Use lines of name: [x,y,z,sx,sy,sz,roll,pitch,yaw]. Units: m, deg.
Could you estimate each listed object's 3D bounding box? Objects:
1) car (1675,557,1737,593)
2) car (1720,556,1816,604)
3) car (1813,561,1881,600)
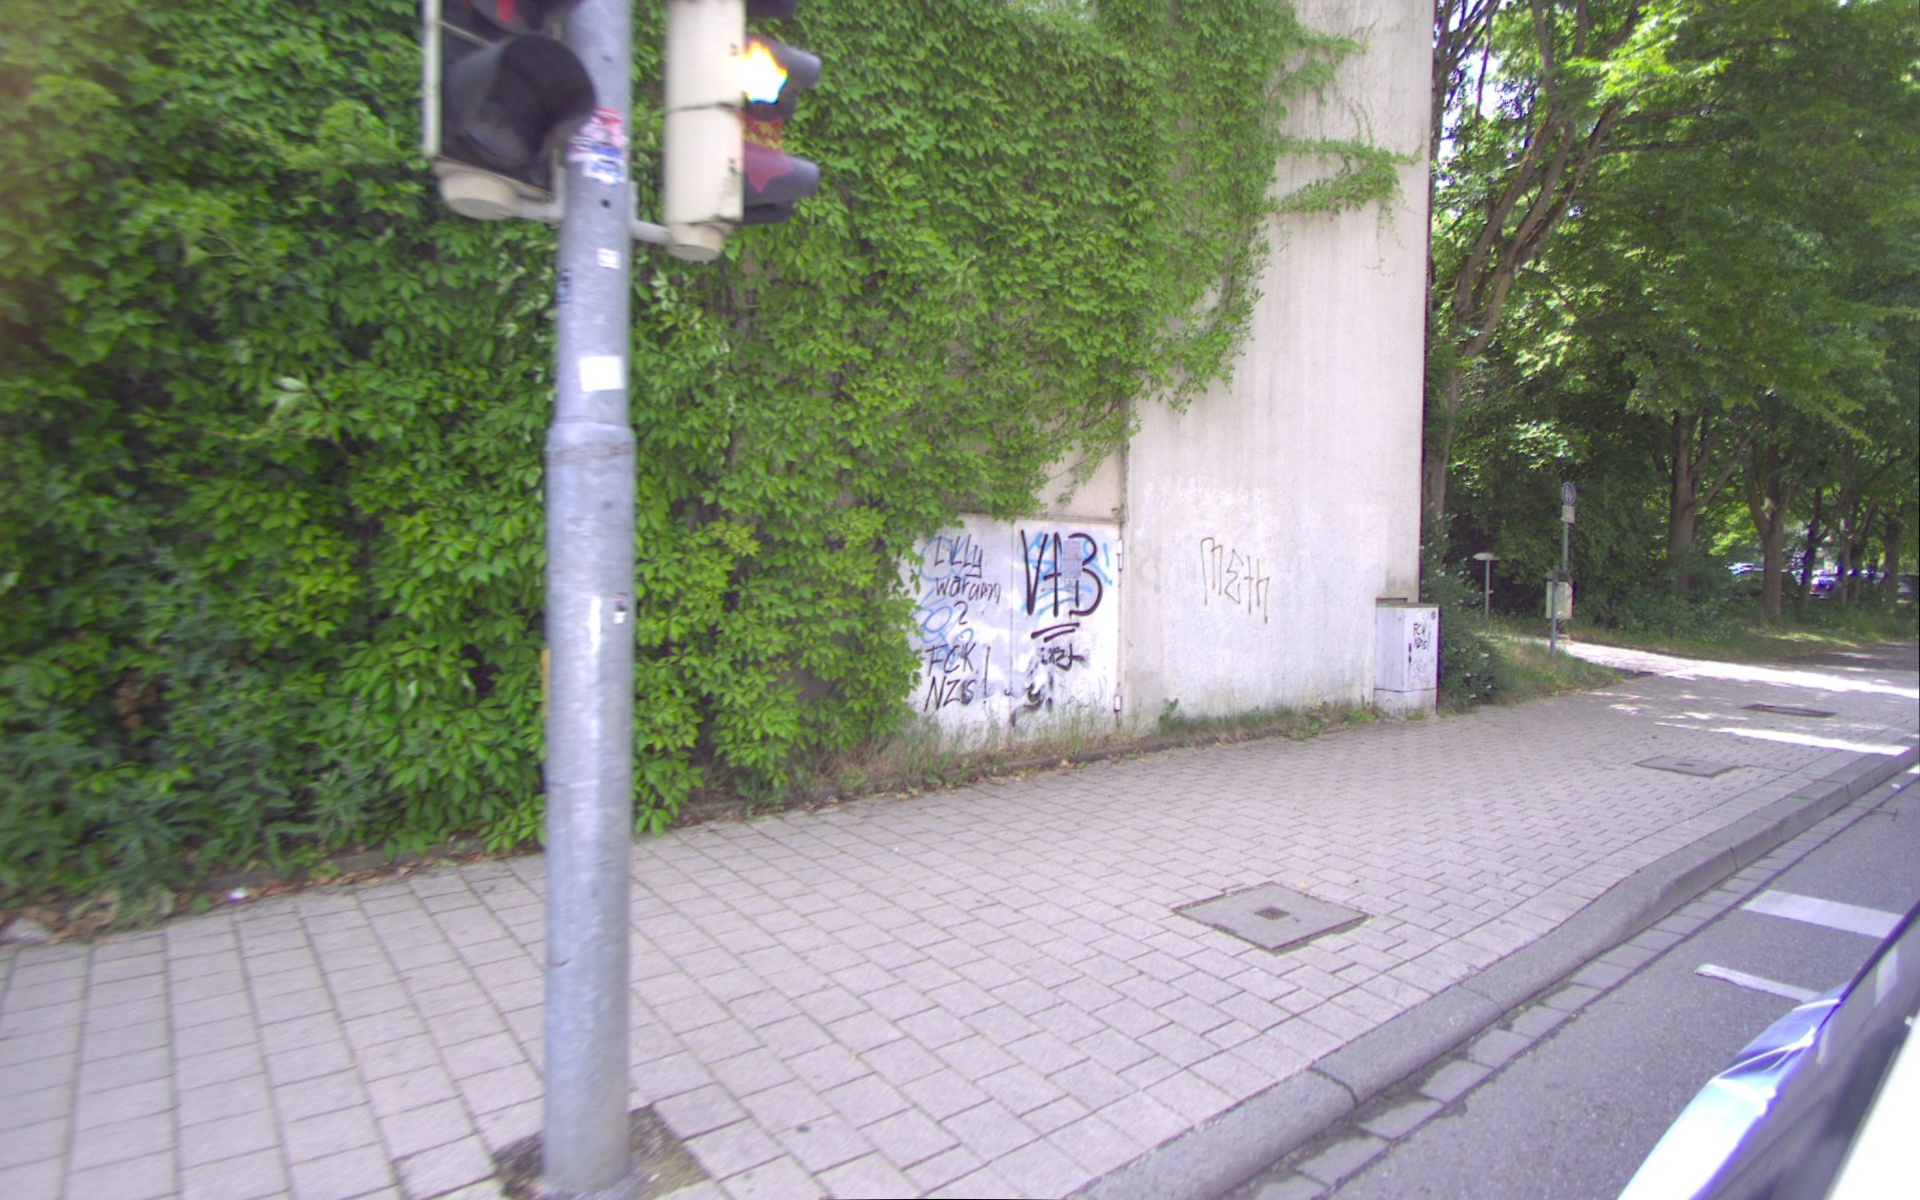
car: [33.913,-1.133,45.969,3.615,1.561,1.654,-1,1,-43]
car: [27.793,-0.706,34.796,3.608,1.561,1.757,-1,1,-37]
car: [37.448,-0.814,42.699,4.156,1.561,1.754,-1,1,-43]
